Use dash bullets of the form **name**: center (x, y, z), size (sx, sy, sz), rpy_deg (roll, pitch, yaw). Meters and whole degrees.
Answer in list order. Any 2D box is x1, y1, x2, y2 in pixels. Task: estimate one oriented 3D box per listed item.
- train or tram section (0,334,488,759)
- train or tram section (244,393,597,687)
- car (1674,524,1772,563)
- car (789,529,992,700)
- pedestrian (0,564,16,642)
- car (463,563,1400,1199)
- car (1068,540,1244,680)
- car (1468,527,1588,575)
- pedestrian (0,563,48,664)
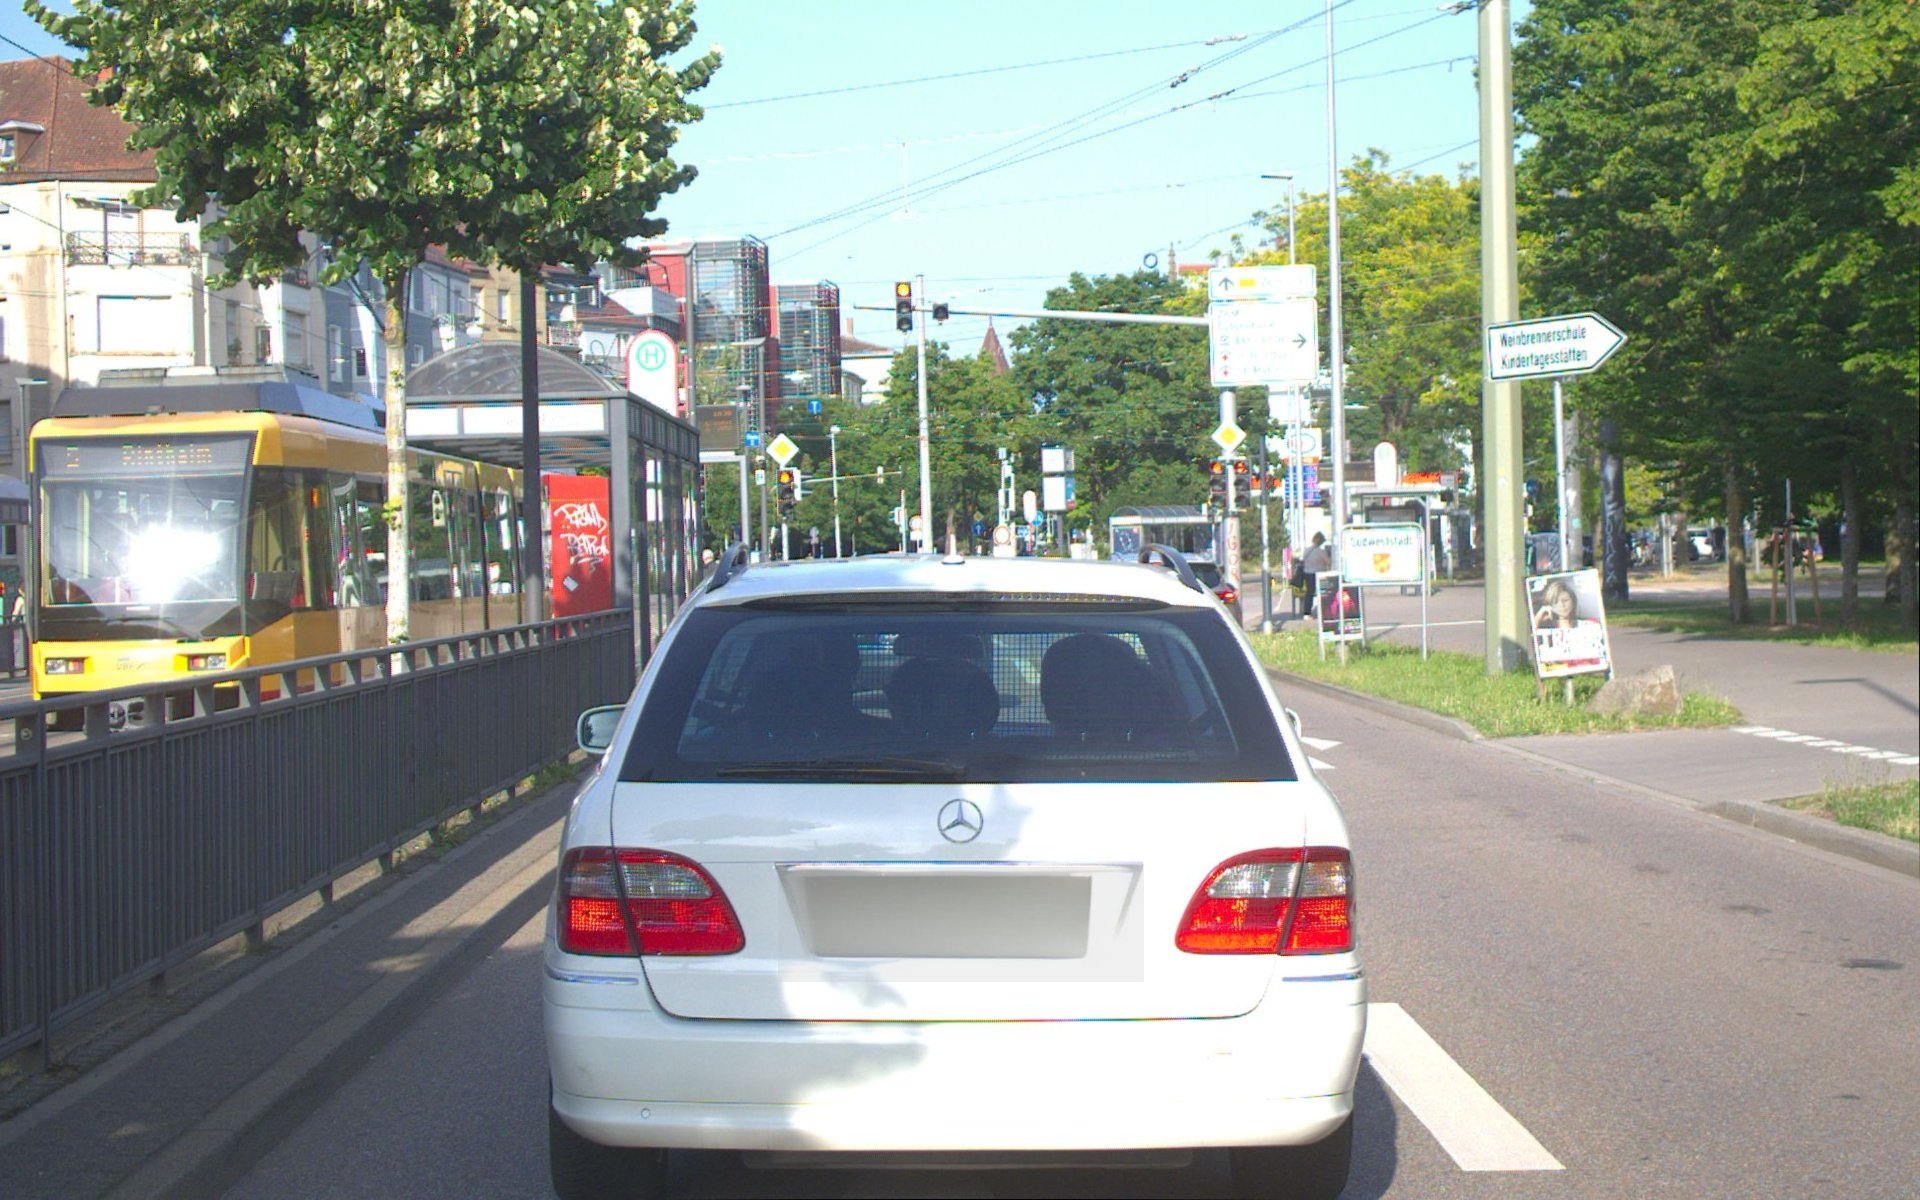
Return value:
- **train or tram section**: center (-7.067, -0.585, 34.709), size (2.849, 3.467, 13.201), rpy_deg (0, 1, 0)
- **train or tram section**: center (-7.132, -0.847, 47.642), size (2.849, 3.467, 13.201), rpy_deg (-1, 1, 0)
- **car**: center (34.743, -2.556, 156.528), size (3.986, 1.645, 2.000), rpy_deg (-2, 1, -27)
- **car**: center (-0.673, 0.105, 36.353), size (1.787, 1.684, 4.000), rpy_deg (-1, 1, 4)
- **pedestrian**: center (-21.841, 0.077, 77.809), size (0.665, 1.747, 0.746), rpy_deg (-1, 1, 3)
- **car**: center (-0.070, 0.705, 8.590), size (1.758, 1.498, 4.000), rpy_deg (-2, 1, -1)
- **car**: center (2.414, 0.087, 42.171), size (2.033, 1.600, 4.000), rpy_deg (-1, 1, 4)
- **car**: center (21.318, -1.837, 129.031), size (3.992, 1.645, 1.997), rpy_deg (-1, 1, 25)
- **pedestrian**: center (-16.674, 0.234, 60.957), size (0.886, 1.747, 0.746), rpy_deg (-1, 1, -11)
